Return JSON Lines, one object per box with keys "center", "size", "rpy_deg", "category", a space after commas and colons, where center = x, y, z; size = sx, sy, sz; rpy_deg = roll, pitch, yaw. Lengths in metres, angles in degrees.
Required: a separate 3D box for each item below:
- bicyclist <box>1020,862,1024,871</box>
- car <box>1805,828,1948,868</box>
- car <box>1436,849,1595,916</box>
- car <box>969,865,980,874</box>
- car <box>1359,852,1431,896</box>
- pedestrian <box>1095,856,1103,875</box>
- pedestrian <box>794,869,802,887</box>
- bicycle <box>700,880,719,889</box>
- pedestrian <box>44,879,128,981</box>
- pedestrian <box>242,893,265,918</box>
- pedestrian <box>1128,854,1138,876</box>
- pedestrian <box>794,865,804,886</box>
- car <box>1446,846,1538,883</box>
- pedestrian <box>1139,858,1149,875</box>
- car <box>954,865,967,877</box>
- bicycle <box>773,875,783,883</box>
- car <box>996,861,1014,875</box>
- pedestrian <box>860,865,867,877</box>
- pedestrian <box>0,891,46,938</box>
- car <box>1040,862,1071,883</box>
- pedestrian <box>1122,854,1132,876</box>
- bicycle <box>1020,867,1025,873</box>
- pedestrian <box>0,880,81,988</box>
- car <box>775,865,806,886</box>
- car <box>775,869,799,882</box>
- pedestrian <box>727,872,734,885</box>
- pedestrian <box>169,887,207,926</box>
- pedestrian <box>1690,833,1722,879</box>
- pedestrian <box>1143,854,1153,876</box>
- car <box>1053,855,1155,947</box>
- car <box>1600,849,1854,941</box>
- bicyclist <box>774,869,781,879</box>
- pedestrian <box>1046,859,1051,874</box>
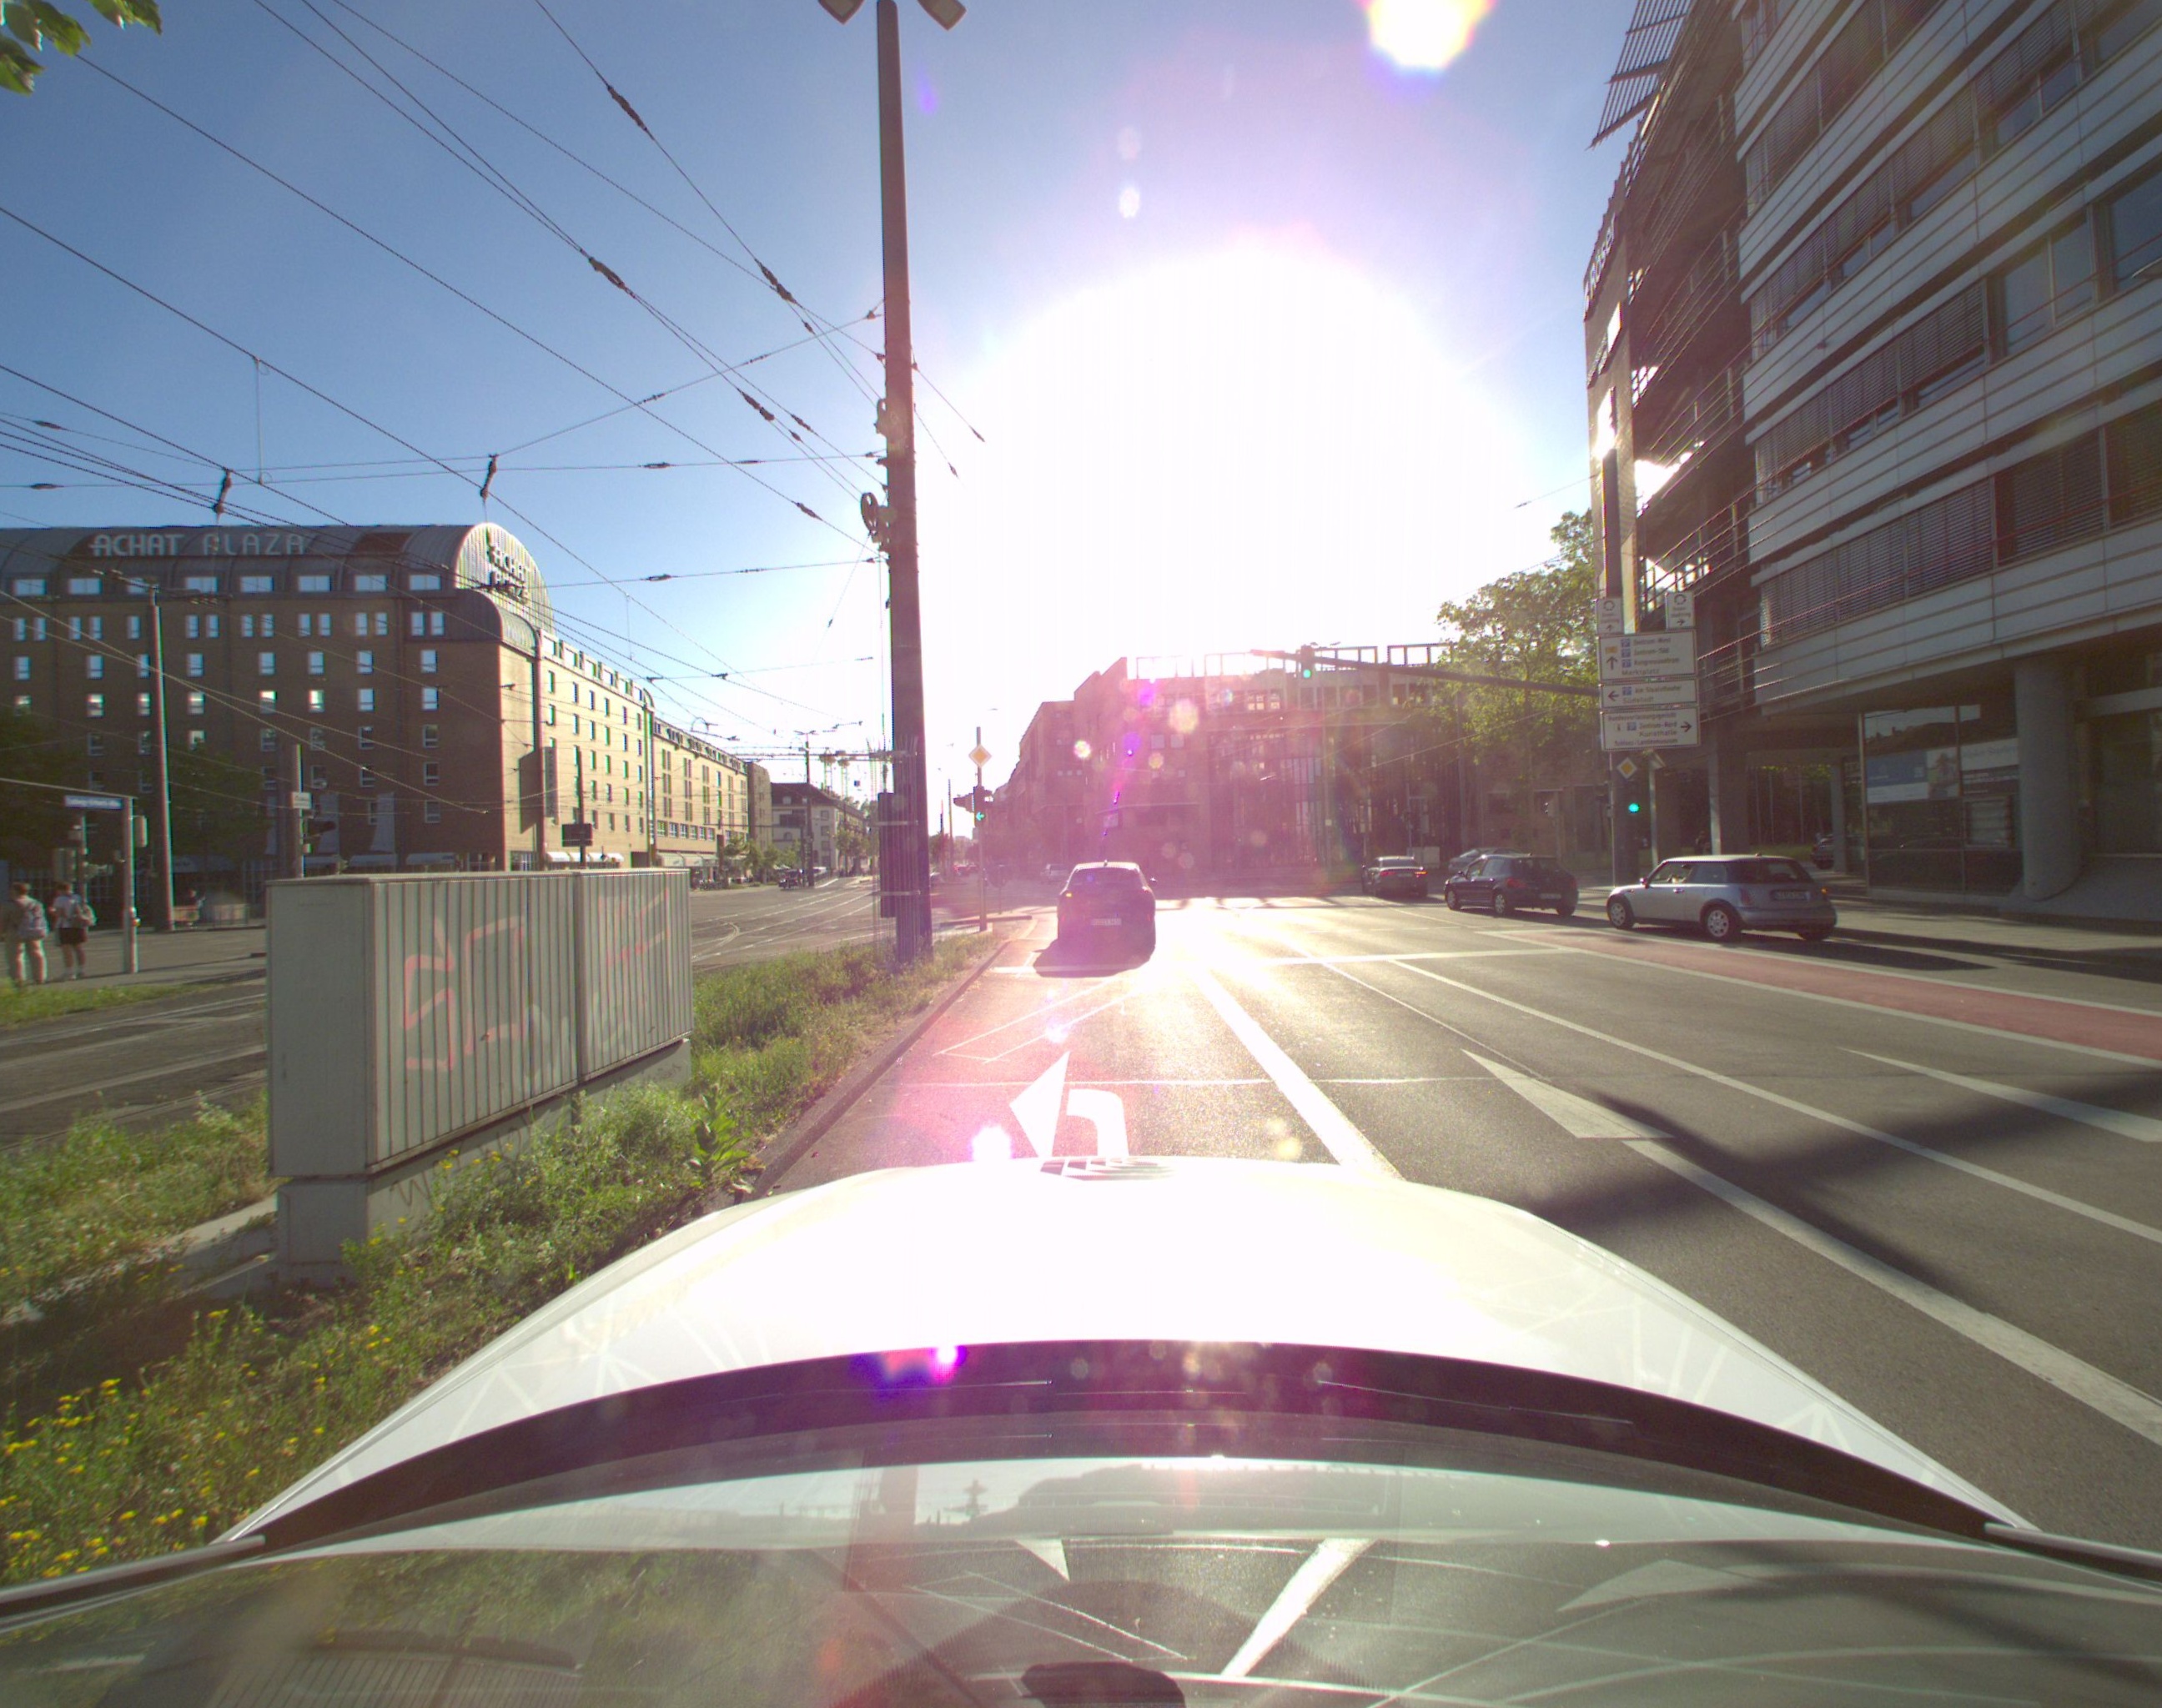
{"center": [-9.024, 1.980, 124.770], "size": [0.645, 1.339, 0.651], "rpy_deg": [-2, -1, -8], "category": "bicyclist"}
{"center": [32.529, -0.229, 33.399], "size": [3.948, 1.475, 1.869], "rpy_deg": [-2, 0, 3], "category": "car"}
{"center": [10.812, 0.652, 20.608], "size": [1.855, 1.475, 3.976], "rpy_deg": [-2, 0, 0], "category": "car"}
{"center": [-18.302, 2.620, 139.820], "size": [1.720, 1.453, 3.686], "rpy_deg": [-3, 0, -9], "category": "car"}
{"center": [11.157, 0.698, 29.195], "size": [1.684, 1.440, 4.031], "rpy_deg": [-2, -1, 11], "category": "car"}
{"center": [1.732, 1.091, 78.647], "size": [0.639, 1.786, 0.687], "rpy_deg": [-3, -1, -6], "category": "pedestrian"}
{"center": [-24.894, 2.083, 71.702], "size": [0.583, 1.577, 0.642], "rpy_deg": [-2, -1, -23], "category": "pedestrian"}
{"center": [-43.089, 3.537, 94.480], "size": [2.026, 0.921, 0.483], "rpy_deg": [-3, 0, 1], "category": "bicycle"}
{"center": [-19.204, 1.449, 15.734], "size": [0.729, 1.869, 0.673], "rpy_deg": [-2, -1, -2], "category": "pedestrian"}
{"center": [-57.009, 3.549, 56.102], "size": [0.750, 1.666, 0.739], "rpy_deg": [-2, 0, -7], "category": "pedestrian"}
{"center": [4.285, 0.924, 67.330], "size": [0.573, 1.786, 0.546], "rpy_deg": [-3, -1, -17], "category": "pedestrian"}
{"center": [-24.160, 1.847, 69.783], "size": [0.720, 1.727, 0.593], "rpy_deg": [-2, -1, -8], "category": "pedestrian"}
{"center": [18.258, 0.447, 36.182], "size": [3.993, 1.475, 1.684], "rpy_deg": [-2, 0, -29], "category": "car"}
{"center": [5.427, 1.094, 70.292], "size": [0.550, 1.477, 0.568], "rpy_deg": [-2, 0, -27], "category": "pedestrian"}
{"center": [-16.354, 2.335, 110.588], "size": [1.720, 1.453, 3.686], "rpy_deg": [-3, 0, -9], "category": "car"}
{"center": [-42.415, 3.452, 113.969], "size": [0.810, 0.991, 2.500], "rpy_deg": [-3, 0, -10], "category": "bicycle"}
{"center": [-8.348, 1.543, 88.945], "size": [1.671, 1.453, 3.686], "rpy_deg": [-3, 0, -9], "category": "car"}
{"center": [-30.862, 2.360, 115.391], "size": [0.863, 1.670, 0.779], "rpy_deg": [-1, 0, -20], "category": "pedestrian"}
{"center": [-40.168, 2.288, 30.861], "size": [0.711, 1.680, 0.832], "rpy_deg": [-2, 1, 2], "category": "pedestrian"}
{"center": [-1.887, 1.350, 59.366], "size": [1.562, 1.456, 3.414], "rpy_deg": [-2, 0, -15], "category": "car"}
{"center": [3.854, 0.933, 67.911], "size": [0.573, 1.786, 0.546], "rpy_deg": [-3, -1, -17], "category": "pedestrian"}
{"center": [-9.009, 2.431, 124.789], "size": [0.648, 0.904, 2.339], "rpy_deg": [-2, 0, -7], "category": "bicycle"}
{"center": [-19.020, 1.438, 14.820], "size": [0.729, 1.869, 0.699], "rpy_deg": [-2, -1, 1], "category": "pedestrian"}
{"center": [-28.079, 2.080, 78.889], "size": [1.837, 1.836, 4.098], "rpy_deg": [-4, 0, -6], "category": "car"}
{"center": [-33.770, 2.482, 93.639], "size": [1.840, 1.268, 4.214], "rpy_deg": [-4, 0, -11], "category": "car"}
{"center": [-49.114, 3.467, 114.107], "size": [0.716, 1.764, 0.564], "rpy_deg": [-3, 0, -7], "category": "pedestrian"}
{"center": [-40.538, 2.363, 36.966], "size": [0.713, 1.680, 0.829], "rpy_deg": [-2, 1, -7], "category": "pedestrian"}
{"center": [23.952, 0.094, 31.219], "size": [0.786, 1.734, 0.588], "rpy_deg": [-1, -1, 9], "category": "pedestrian"}
{"center": [5.702, 0.929, 69.144], "size": [0.573, 1.786, 0.546], "rpy_deg": [-3, -1, -17], "category": "pedestrian"}
{"center": [0.436, 0.774, 15.244], "size": [1.665, 1.502, 3.692], "rpy_deg": [-1, 0, 2], "category": "car"}
{"center": [11.035, 0.642, 14.262], "size": [1.655, 1.389, 3.537], "rpy_deg": [-1, -1, 1], "category": "car"}
{"center": [-42.431, 2.827, 113.892], "size": [0.810, 1.377, 0.922], "rpy_deg": [-3, 0, -11], "category": "bicyclist"}
{"center": [-3.927, 1.567, 99.360], "size": [0.547, 1.786, 0.572], "rpy_deg": [-2, 2, -7], "category": "pedestrian"}
